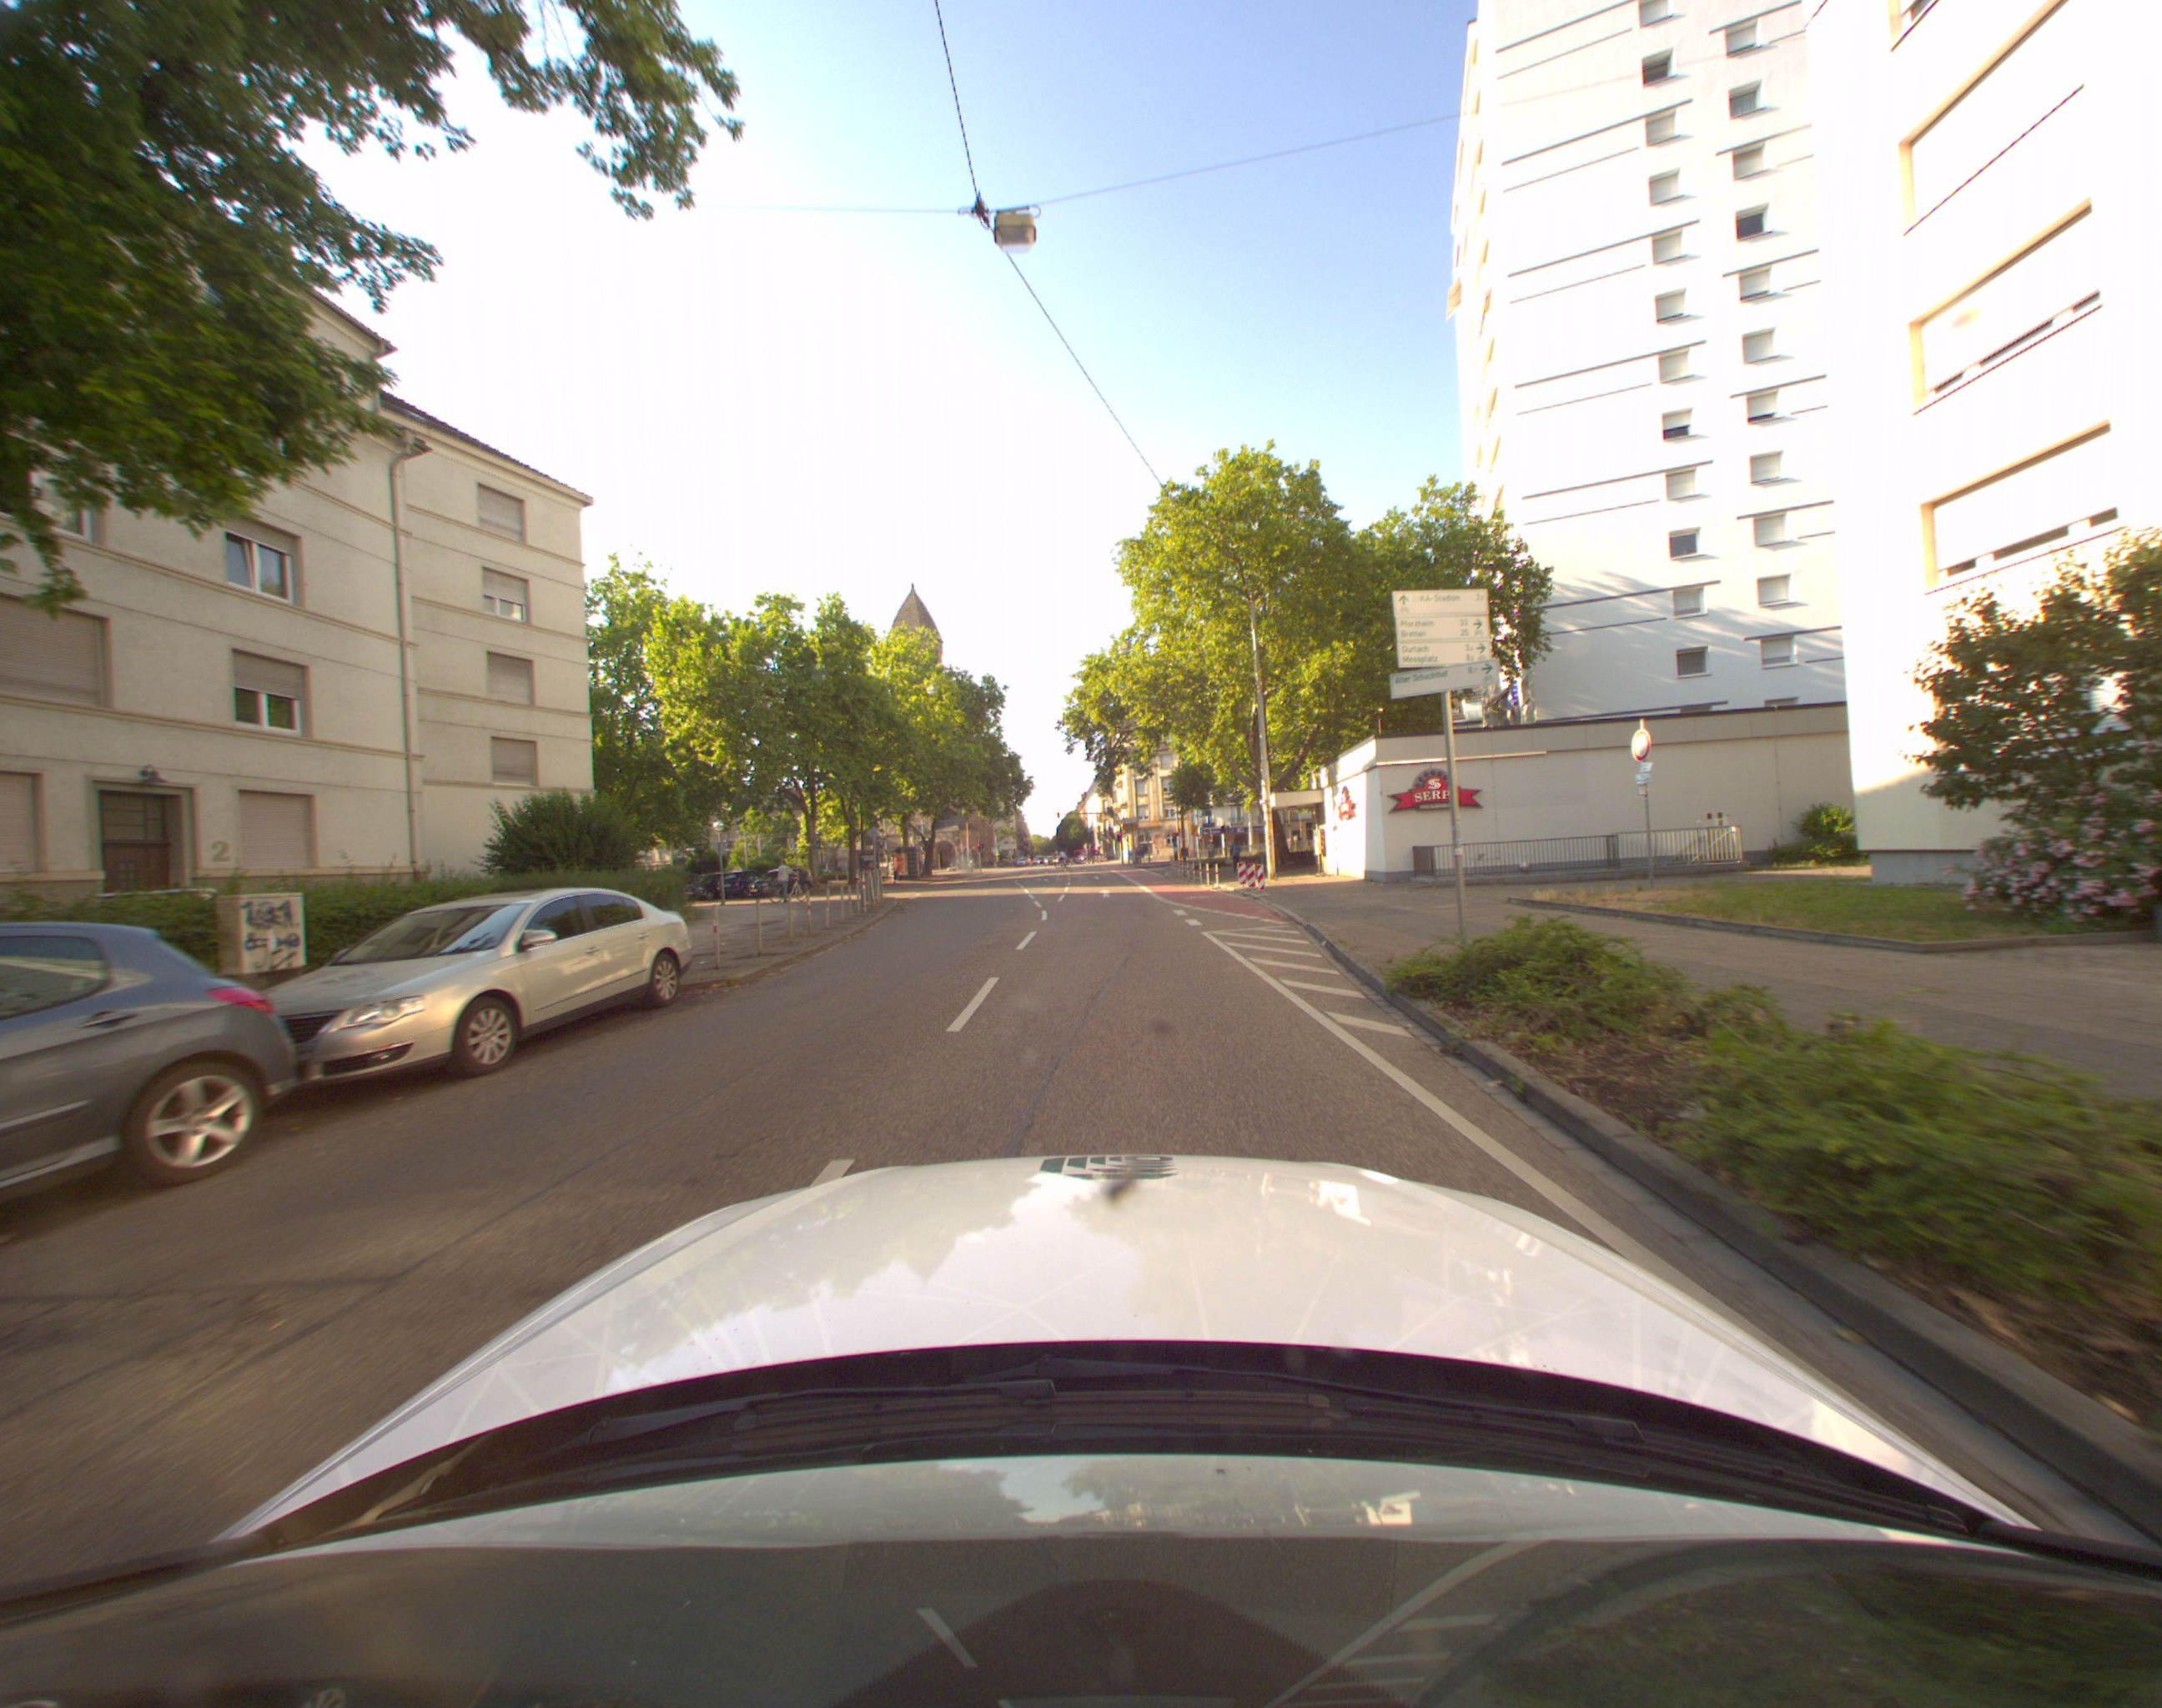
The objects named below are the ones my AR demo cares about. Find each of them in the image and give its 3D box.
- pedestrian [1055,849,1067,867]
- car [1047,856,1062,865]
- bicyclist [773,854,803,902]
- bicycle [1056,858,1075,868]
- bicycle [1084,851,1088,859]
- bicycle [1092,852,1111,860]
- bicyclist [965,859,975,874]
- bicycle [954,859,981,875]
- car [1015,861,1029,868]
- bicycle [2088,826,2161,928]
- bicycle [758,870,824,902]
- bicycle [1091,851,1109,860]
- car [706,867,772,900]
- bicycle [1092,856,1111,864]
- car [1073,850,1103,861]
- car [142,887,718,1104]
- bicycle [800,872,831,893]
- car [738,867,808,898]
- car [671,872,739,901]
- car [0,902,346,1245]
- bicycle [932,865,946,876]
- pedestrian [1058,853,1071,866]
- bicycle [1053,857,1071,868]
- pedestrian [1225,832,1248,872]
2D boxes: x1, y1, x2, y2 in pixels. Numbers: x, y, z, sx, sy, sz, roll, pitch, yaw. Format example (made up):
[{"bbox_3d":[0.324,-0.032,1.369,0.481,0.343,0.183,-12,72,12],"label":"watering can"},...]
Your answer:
[{"bbox_3d":[-1.961,0.411,81.643,0.981,1.708,0.632,-2,-1,30],"label":"pedestrian"},{"bbox_3d":[-4.459,1.116,134.964,1.575,1.462,3.196,-2,-1,15],"label":"car"},{"bbox_3d":[-12.490,1.004,34.723,0.964,2.014,0.802,-2,-2,36],"label":"bicyclist"},{"bbox_3d":[-1.587,0.918,83.429,1.767,0.895,0.754,-3,0,19],"label":"bicycle"},{"bbox_3d":[0.790,0.224,128.555,0.506,1.203,2.091,-1,-1,0],"label":"bicycle"},{"bbox_3d":[3.215,0.278,127.268,2.799,1.203,0.516,-1,-1,-6],"label":"bicycle"},{"bbox_3d":[-12.517,1.432,91.796,0.797,1.656,0.937,-1,-1,9],"label":"bicyclist"},{"bbox_3d":[-12.784,1.473,91.890,2.824,1.656,0.833,-1,-1,9],"label":"bicycle"},{"bbox_3d":[-11.635,2.072,161.060,1.582,1.144,3.398,-2,-1,16],"label":"car"},{"bbox_3d":[10.144,0.222,6.853,0.634,0.925,2.231,-1,1,2],"label":"bicycle"},{"bbox_3d":[-12.374,1.365,34.855,0.998,1.264,2.499,-2,-1,36],"label":"bicycle"},{"bbox_3d":[2.997,0.210,127.916,2.799,1.202,0.509,-1,8,-5],"label":"bicycle"},{"bbox_3d":[-20.289,1.712,48.503,1.864,1.617,4.007,-3,2,5],"label":"car"},{"bbox_3d":[3.135,0.975,125.880,2.799,1.203,0.509,-1,-1,-6],"label":"bicycle"},{"bbox_3d":[1.288,0.283,146.279,5.027,2.014,2.142,-1,-1,-38],"label":"car"},{"bbox_3d":[-5.575,1.075,8.005,1.763,1.352,4.712,-1,-1,2],"label":"car"},{"bbox_3d":[-16.033,1.700,49.270,0.715,1.145,3.292,-1,-1,1],"label":"bicycle"},{"bbox_3d":[-17.637,1.622,46.805,1.735,1.517,3.668,-3,0,20],"label":"car"},{"bbox_3d":[-22.372,1.917,48.657,1.864,1.618,4.006,-1,-1,6],"label":"car"},{"bbox_3d":[-5.648,1.017,3.197,1.697,1.440,4.130,-1,-1,1],"label":"car"},{"bbox_3d":[-22.239,2.623,127.944,1.281,1.750,4.003,-1,-1,3],"label":"bicycle"},{"bbox_3d":[-1.668,0.528,83.458,1.040,1.278,0.796,-2,-1,19],"label":"pedestrian"},{"bbox_3d":[-1.907,0.843,81.619,1.766,0.982,0.661,-2,-1,30],"label":"bicycle"},{"bbox_3d":[8.279,-0.108,43.500,0.824,2.013,1.153,-6,-1,1],"label":"pedestrian"}]
